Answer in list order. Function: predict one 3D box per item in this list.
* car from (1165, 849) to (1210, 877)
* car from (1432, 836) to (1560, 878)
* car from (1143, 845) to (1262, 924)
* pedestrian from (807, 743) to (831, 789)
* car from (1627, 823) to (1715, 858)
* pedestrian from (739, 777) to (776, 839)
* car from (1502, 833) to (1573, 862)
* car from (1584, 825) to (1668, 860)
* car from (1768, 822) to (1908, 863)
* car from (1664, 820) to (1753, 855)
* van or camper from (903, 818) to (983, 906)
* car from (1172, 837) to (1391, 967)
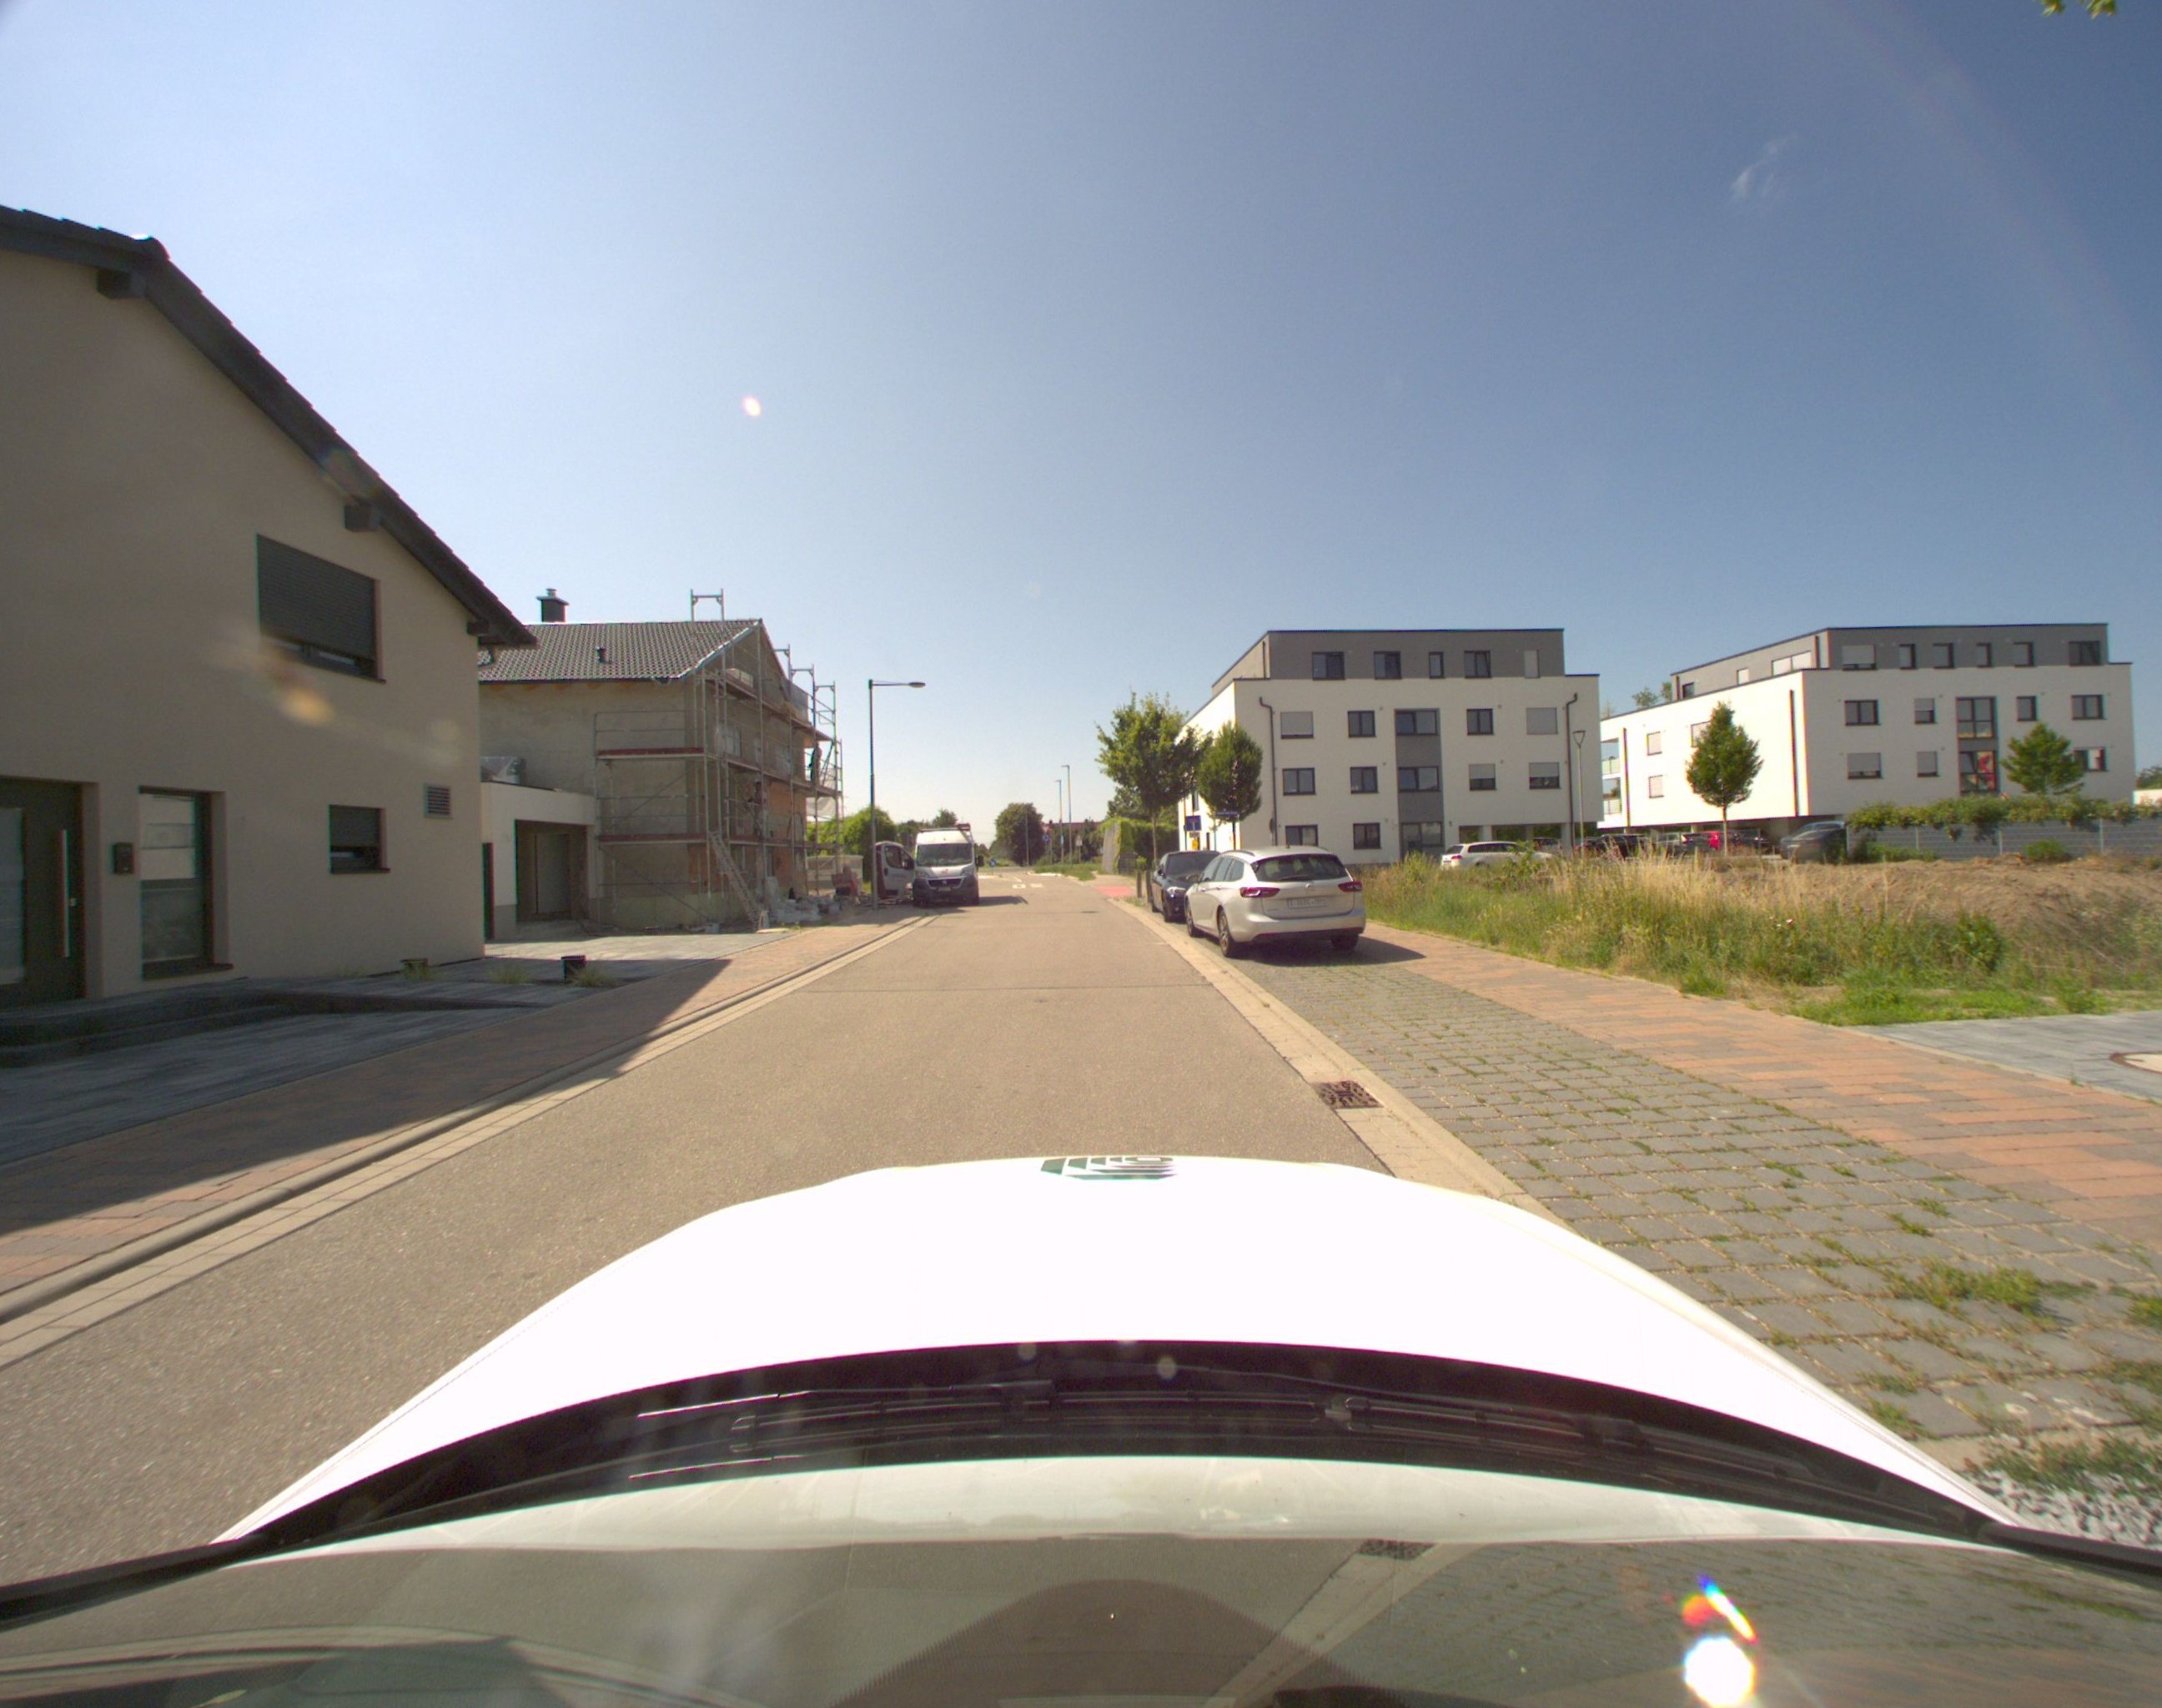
[{"bbox_3d":[5.898,0.470,45.362,1.674,1.469,4.110,-1,0,-4],"label":"car"},{"bbox_3d":[16.420,0.133,32.339,4.150,1.435,1.880,-2,-1,-4],"label":"car"},{"bbox_3d":[2.632,0.585,18.837,1.912,1.469,5.139,-3,0,0],"label":"car"},{"bbox_3d":[-9.378,-3.137,29.140,0.566,1.500,0.739,0,-3,-39],"label":"pedestrian"},{"bbox_3d":[34.136,-0.746,47.278,1.872,1.810,4.167,-2,-1,-3],"label":"car"},{"bbox_3d":[-9.137,-1.282,23.007,0.752,1.680,0.571,0,-3,-44],"label":"pedestrian"},{"bbox_3d":[26.416,-0.344,47.267,1.872,1.503,3.675,-2,-1,-3],"label":"car"},{"bbox_3d":[31.246,-0.634,46.880,1.872,1.810,4.167,-2,-1,-3],"label":"car"},{"bbox_3d":[31.140,-0.459,33.567,4.150,1.478,1.880,-2,-1,-4],"label":"car"},{"bbox_3d":[36.727,-0.946,47.796,1.872,1.810,4.167,-2,-1,-3],"label":"car"},{"bbox_3d":[-4.575,0.278,27.672,2.271,2.553,6.349,-2,-1,-8],"label":"van or camper"},{"bbox_3d":[2.799,0.573,12.774,1.913,1.511,5.291,-3,0,-2],"label":"car"}]
